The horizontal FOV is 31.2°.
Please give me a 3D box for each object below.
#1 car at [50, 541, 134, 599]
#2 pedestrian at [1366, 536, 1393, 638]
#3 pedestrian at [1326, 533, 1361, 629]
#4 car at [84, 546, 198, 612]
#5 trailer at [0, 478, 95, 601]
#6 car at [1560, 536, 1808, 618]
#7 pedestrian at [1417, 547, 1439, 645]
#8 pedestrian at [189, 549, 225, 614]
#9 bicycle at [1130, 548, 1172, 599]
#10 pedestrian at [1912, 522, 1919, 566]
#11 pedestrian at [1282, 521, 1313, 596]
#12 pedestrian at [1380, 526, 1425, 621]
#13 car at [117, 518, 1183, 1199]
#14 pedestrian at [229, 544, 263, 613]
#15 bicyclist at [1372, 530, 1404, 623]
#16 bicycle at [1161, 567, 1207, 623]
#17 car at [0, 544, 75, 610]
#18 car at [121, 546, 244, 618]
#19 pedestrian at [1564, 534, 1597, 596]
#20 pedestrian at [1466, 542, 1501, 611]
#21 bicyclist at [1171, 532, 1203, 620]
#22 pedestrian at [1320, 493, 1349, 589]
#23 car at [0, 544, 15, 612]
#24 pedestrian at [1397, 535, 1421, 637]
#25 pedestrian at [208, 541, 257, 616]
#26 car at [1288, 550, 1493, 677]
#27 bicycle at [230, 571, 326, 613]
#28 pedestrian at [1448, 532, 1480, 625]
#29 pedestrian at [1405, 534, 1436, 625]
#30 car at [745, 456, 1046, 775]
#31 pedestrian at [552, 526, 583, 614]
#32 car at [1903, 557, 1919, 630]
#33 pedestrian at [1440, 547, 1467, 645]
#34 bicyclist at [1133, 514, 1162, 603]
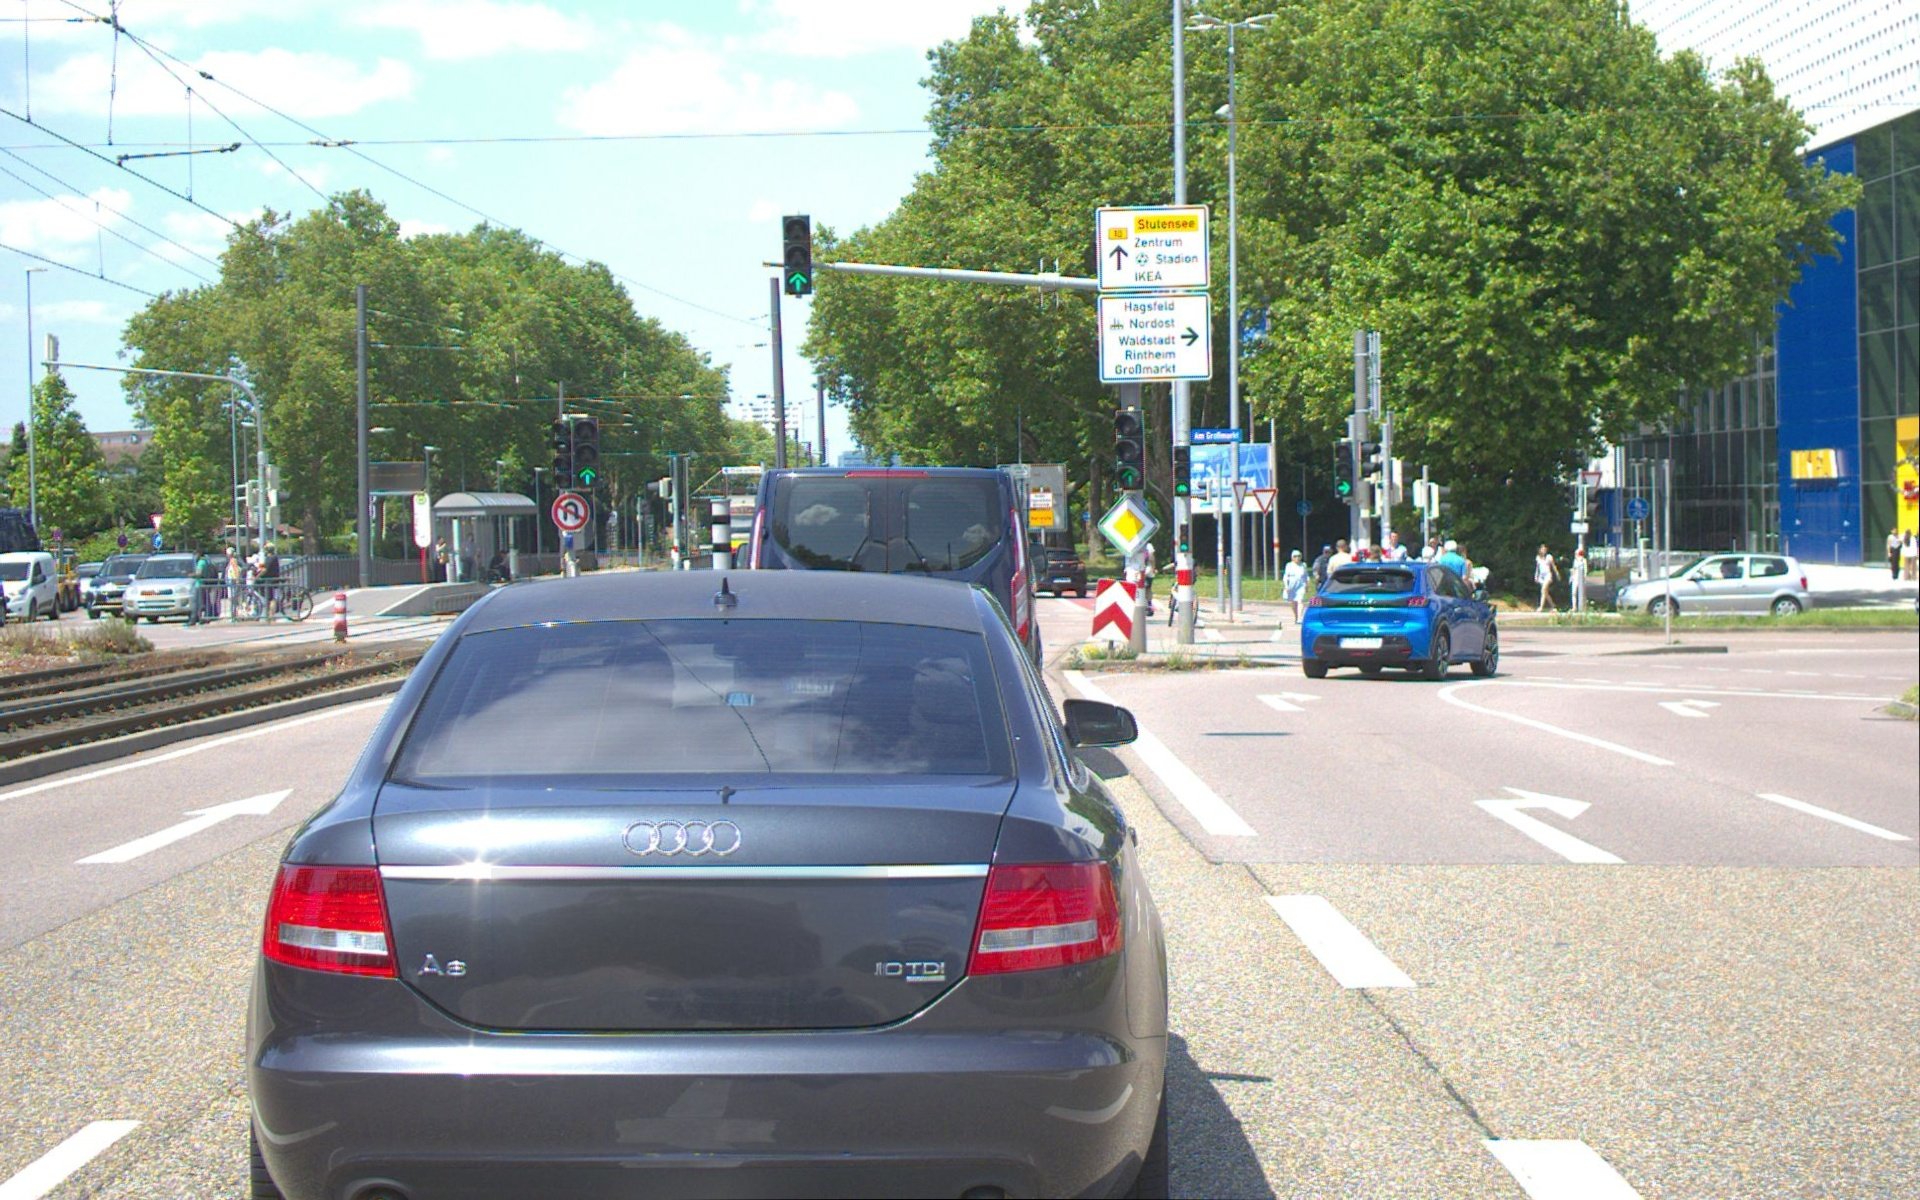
[{"bbox_3d":[-28.446,-0.995,112.769,1.817,1.876,4.000,0,1,-1],"label":"car"},{"bbox_3d":[6.722,-0.212,55.084,0.381,1.629,0.377,0,1,3],"label":"pedestrian"},{"bbox_3d":[6.552,-0.331,58.750,0.554,1.629,0.433,0,1,3],"label":"pedestrian"},{"bbox_3d":[-21.894,-0.583,92.081,1.822,1.664,4.461,1,1,2],"label":"car"},{"bbox_3d":[-28.631,-1.776,100.775,2.767,3.506,15.879,0,1,-1],"label":"trailer"},{"bbox_3d":[14.247,-0.473,67.827,4.498,1.481,2.000,1,1,3],"label":"car"},{"bbox_3d":[7.848,-0.073,57.636,0.320,1.629,0.377,0,1,3],"label":"pedestrian"},{"bbox_3d":[-16.838,-0.419,76.883,0.685,1.438,0.573,0,1,-4],"label":"pedestrian"},{"bbox_3d":[3.842,-0.539,69.198,0.688,0.990,2.752,0,1,0],"label":"bicycle"},{"bbox_3d":[29.119,-1.688,104.460,0.288,1.338,0.266,0,1,0],"label":"pedestrian"},{"bbox_3d":[6.873,-0.842,69.951,0.494,1.514,0.706,1,1,17],"label":"pedestrian"},{"bbox_3d":[8.695,-0.522,67.552,0.685,1.840,0.706,1,1,25],"label":"pedestrian"},{"bbox_3d":[-0.535,0.546,7.816,1.792,1.450,4.000,0,1,0],"label":"car"},{"bbox_3d":[-16.197,-0.484,77.993,0.685,1.559,0.573,0,1,-4],"label":"pedestrian"},{"bbox_3d":[8.095,-0.445,65.006,0.529,1.758,0.827,0,1,13],"label":"bicyclist"},{"bbox_3d":[4.256,-0.109,65.345,0.688,1.002,2.752,0,1,0],"label":"bicycle"},{"bbox_3d":[-25.047,-0.637,91.333,1.822,1.664,4.461,1,1,1],"label":"car"},{"bbox_3d":[-18.927,-0.456,83.839,1.822,1.664,4.461,1,1,2],"label":"car"},{"bbox_3d":[15.367,-0.872,85.180,0.705,1.539,0.677,1,1,19],"label":"pedestrian"},{"bbox_3d":[12.477,-0.561,81.937,0.705,1.629,0.611,1,1,19],"label":"pedestrian"},{"bbox_3d":[4.326,-0.458,65.479,0.528,1.670,1.088,0,1,0],"label":"bicyclist"},{"bbox_3d":[6.410,-1.010,58.878,0.445,1.629,0.430,0,1,3],"label":"pedestrian"},{"bbox_3d":[-24.675,-0.529,84.233,1.822,1.664,4.461,1,1,0],"label":"car"},{"bbox_3d":[7.185,-0.227,55.045,0.339,1.629,0.377,0,1,3],"label":"pedestrian"},{"bbox_3d":[-16.882,-0.508,79.767,0.824,1.714,0.774,1,1,22],"label":"pedestrian"},{"bbox_3d":[5.396,0.123,42.706,1.839,1.449,3.997,2,1,17],"label":"car"},{"bbox_3d":[-15.054,-0.176,75.929,2.055,0.922,0.753,0,1,-10],"label":"bicycle"},{"bbox_3d":[9.084,-0.389,61.995,0.521,1.664,0.494,0,1,3],"label":"pedestrian"},{"bbox_3d":[8.305,-0.372,62.005,0.504,1.629,0.449,0,1,3],"label":"pedestrian"},{"bbox_3d":[-0.421,0.069,23.007,1.836,1.943,4.000,0,1,-1],"label":"car"},{"bbox_3d":[-8.996,-0.699,78.900,0.685,2.007,0.573,0,1,-4],"label":"pedestrian"},{"bbox_3d":[21.592,-0.098,70.874,3.789,1.481,2.000,1,1,3],"label":"car"},{"bbox_3d":[8.270,-0.075,57.623,0.398,1.629,0.371,0,1,3],"label":"pedestrian"},{"bbox_3d":[3.776,-0.847,69.371,0.528,1.783,1.088,0,1,0],"label":"bicyclist"}]
